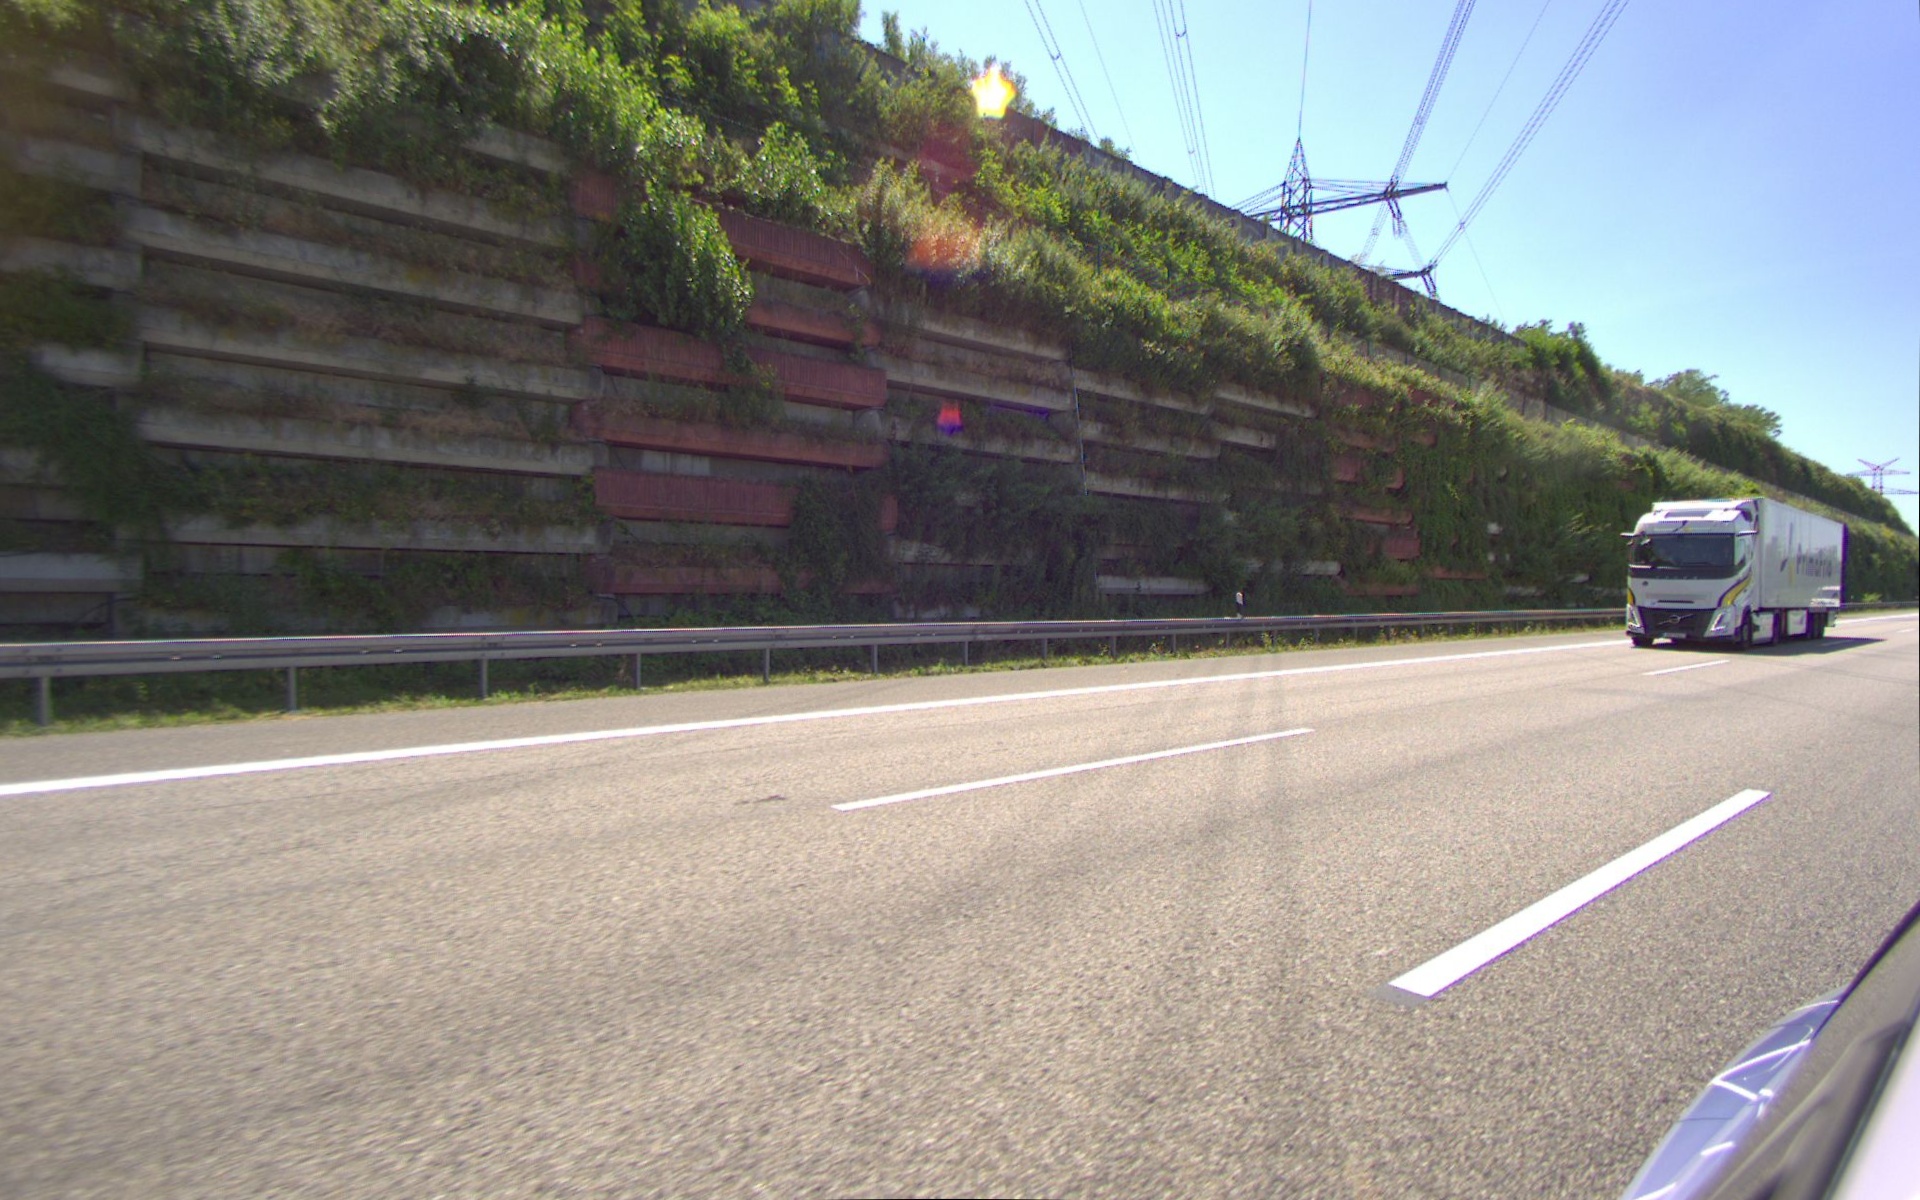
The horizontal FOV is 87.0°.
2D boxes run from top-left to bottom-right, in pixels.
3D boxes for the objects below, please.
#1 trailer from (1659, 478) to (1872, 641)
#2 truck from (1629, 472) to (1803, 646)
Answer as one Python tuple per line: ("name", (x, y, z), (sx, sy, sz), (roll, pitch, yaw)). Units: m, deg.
("trailer", (26.857, -1.141, 33.139), (16.732, 4.264, 2.519), (0, 2, -42))
("truck", (20.915, -1.090, 27.879), (6.147, 4.272, 2.512), (-1, 2, -41))
